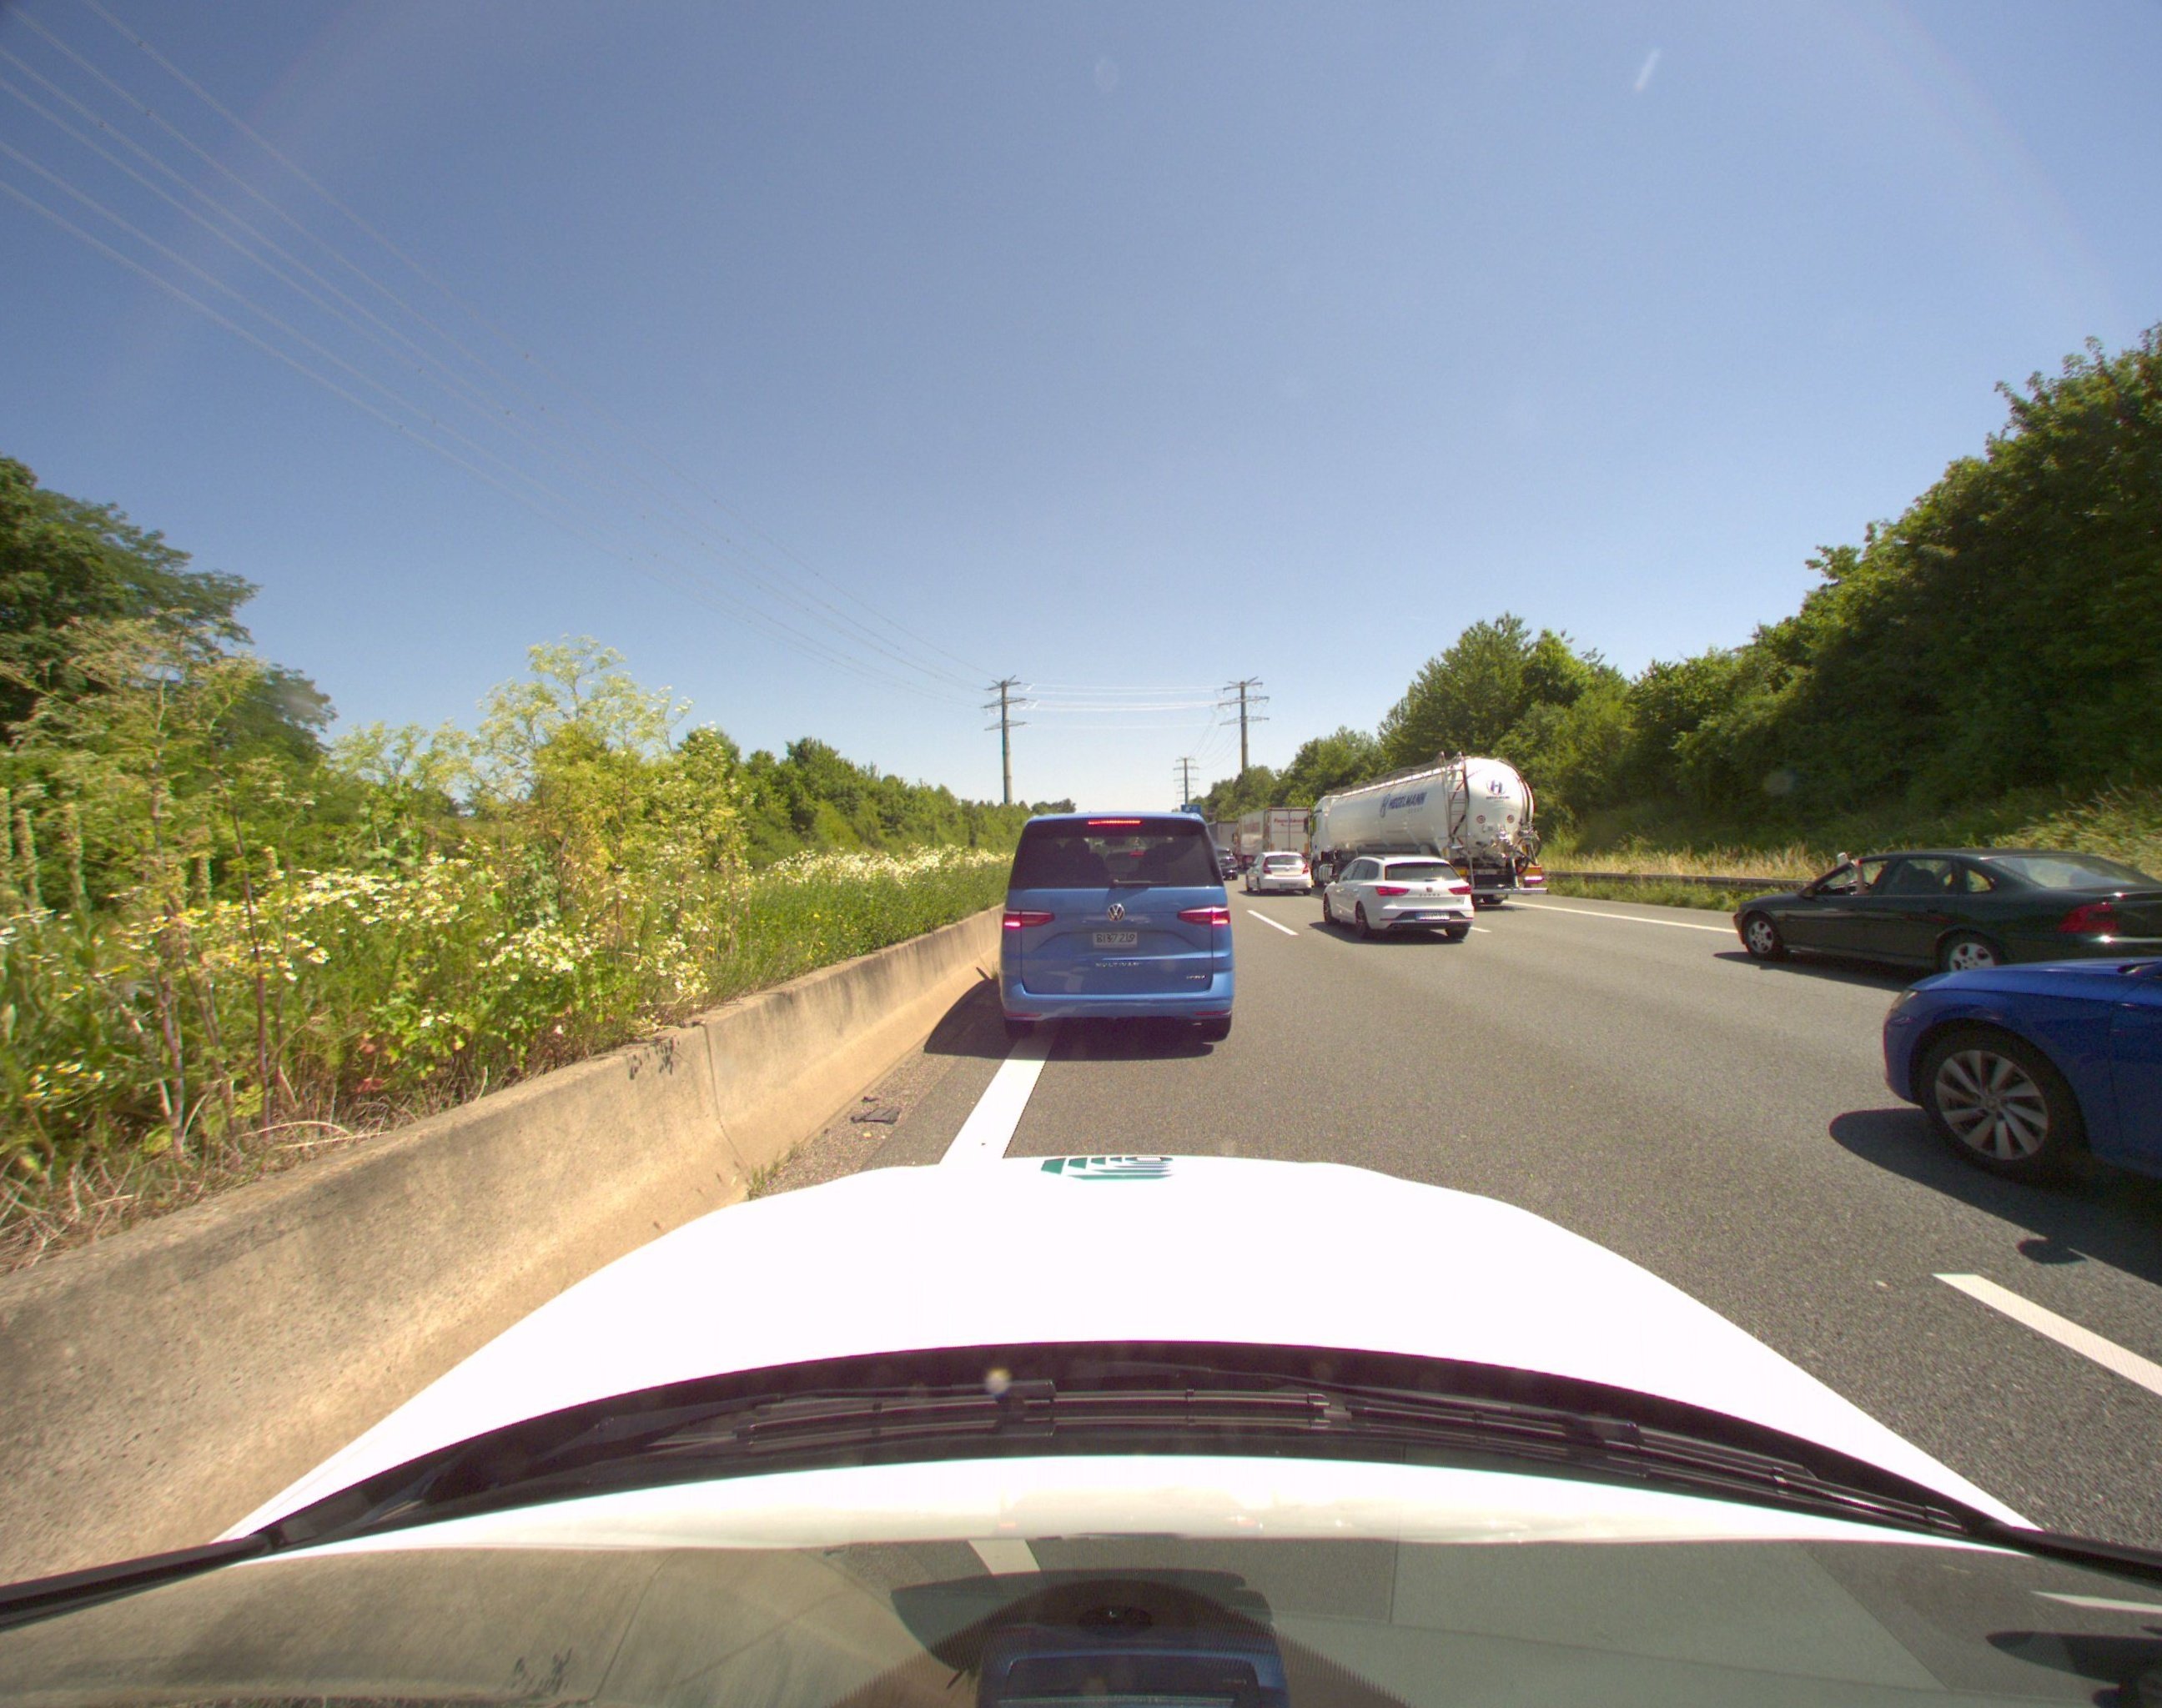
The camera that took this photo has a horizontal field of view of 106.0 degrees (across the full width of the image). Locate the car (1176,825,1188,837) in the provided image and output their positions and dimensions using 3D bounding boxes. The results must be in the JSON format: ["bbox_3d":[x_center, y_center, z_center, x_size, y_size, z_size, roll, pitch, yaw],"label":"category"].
[{"bbox_3d":[18.674,-4.287,150.345,1.985,2.014,4.004,-2,-1,4],"label":"car"}]

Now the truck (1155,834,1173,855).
[{"bbox_3d":[15.273,-1.691,150.457,2.882,3.766,10.152,-2,-1,5],"label":"truck"}]

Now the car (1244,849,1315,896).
[{"bbox_3d":[6.896,0.631,28.667,1.808,1.485,4.005,-2,-1,5],"label":"car"}]

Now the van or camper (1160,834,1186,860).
[{"bbox_3d":[11.394,-0.816,101.631,2.943,3.022,7.112,-2,-1,5],"label":"van or camper"}]

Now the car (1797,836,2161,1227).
[{"bbox_3d":[4.849,0.627,2.261,1.769,1.416,4.575,-3,-1,2],"label":"car"}]

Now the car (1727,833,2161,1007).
[{"bbox_3d":[9.376,0.573,8.880,1.634,1.416,3.993,-3,-1,4],"label":"car"}]

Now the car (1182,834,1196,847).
[{"bbox_3d":[18.455,-2.268,139.219,1.985,2.014,4.004,-2,-1,4],"label":"car"}]

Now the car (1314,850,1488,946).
[{"bbox_3d":[5.655,0.727,14.986,1.739,1.443,4.318,-2,-1,4],"label":"car"}]

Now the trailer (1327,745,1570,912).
[{"bbox_3d":[10.410,-0.587,25.010,2.749,3.845,11.496,-2,0,3],"label":"trailer"}]

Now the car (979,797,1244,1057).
[{"bbox_3d":[0.353,0.538,7.953,1.912,1.886,4.004,-1,0,4],"label":"car"}]

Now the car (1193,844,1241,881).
[{"bbox_3d":[6.982,0.463,42.173,1.990,1.715,4.630,-2,-1,4],"label":"car"}]

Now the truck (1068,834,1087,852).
[{"bbox_3d":[-0.719,-2.261,174.580,3.158,3.819,11.956,-1,0,4],"label":"truck"}]

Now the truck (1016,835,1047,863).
[{"bbox_3d":[-7.132,-0.748,118.981,2.899,3.819,11.956,-1,0,4],"label":"truck"}]

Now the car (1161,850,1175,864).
[{"bbox_3d":[12.474,0.459,117.339,1.827,1.998,4.005,-3,-1,5],"label":"car"}]

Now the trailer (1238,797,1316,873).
[{"bbox_3d":[12.963,-1.155,55.162,2.900,4.469,12.164,-2,0,3],"label":"trailer"}]

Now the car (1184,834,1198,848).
[{"bbox_3d":[17.444,-2.102,129.427,1.985,2.014,4.004,-2,-1,4],"label":"car"}]

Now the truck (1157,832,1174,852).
[{"bbox_3d":[20.302,-2.911,196.031,3.551,4.517,10.302,-2,-1,3],"label":"truck"}]

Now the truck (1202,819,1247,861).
[{"bbox_3d":[14.358,-1.201,82.750,2.992,3.766,15.732,-2,-1,5],"label":"truck"}]

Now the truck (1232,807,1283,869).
[{"bbox_3d":[13.408,-1.152,62.259,2.900,4.469,5.147,-2,0,3],"label":"truck"}]

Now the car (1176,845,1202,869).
[{"bbox_3d":[9.432,0.313,71.353,1.915,1.925,4.239,-3,-1,3],"label":"car"}]

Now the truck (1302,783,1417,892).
[{"bbox_3d":[10.848,-0.596,32.313,2.781,3.836,5.577,-2,0,3],"label":"truck"}]

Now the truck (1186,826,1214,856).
[{"bbox_3d":[16.538,-1.670,114.039,2.882,3.766,13.361,-2,-1,5],"label":"truck"}]

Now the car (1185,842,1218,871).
[{"bbox_3d":[8.612,0.214,58.587,1.915,1.925,4.239,-3,-1,3],"label":"car"}]
